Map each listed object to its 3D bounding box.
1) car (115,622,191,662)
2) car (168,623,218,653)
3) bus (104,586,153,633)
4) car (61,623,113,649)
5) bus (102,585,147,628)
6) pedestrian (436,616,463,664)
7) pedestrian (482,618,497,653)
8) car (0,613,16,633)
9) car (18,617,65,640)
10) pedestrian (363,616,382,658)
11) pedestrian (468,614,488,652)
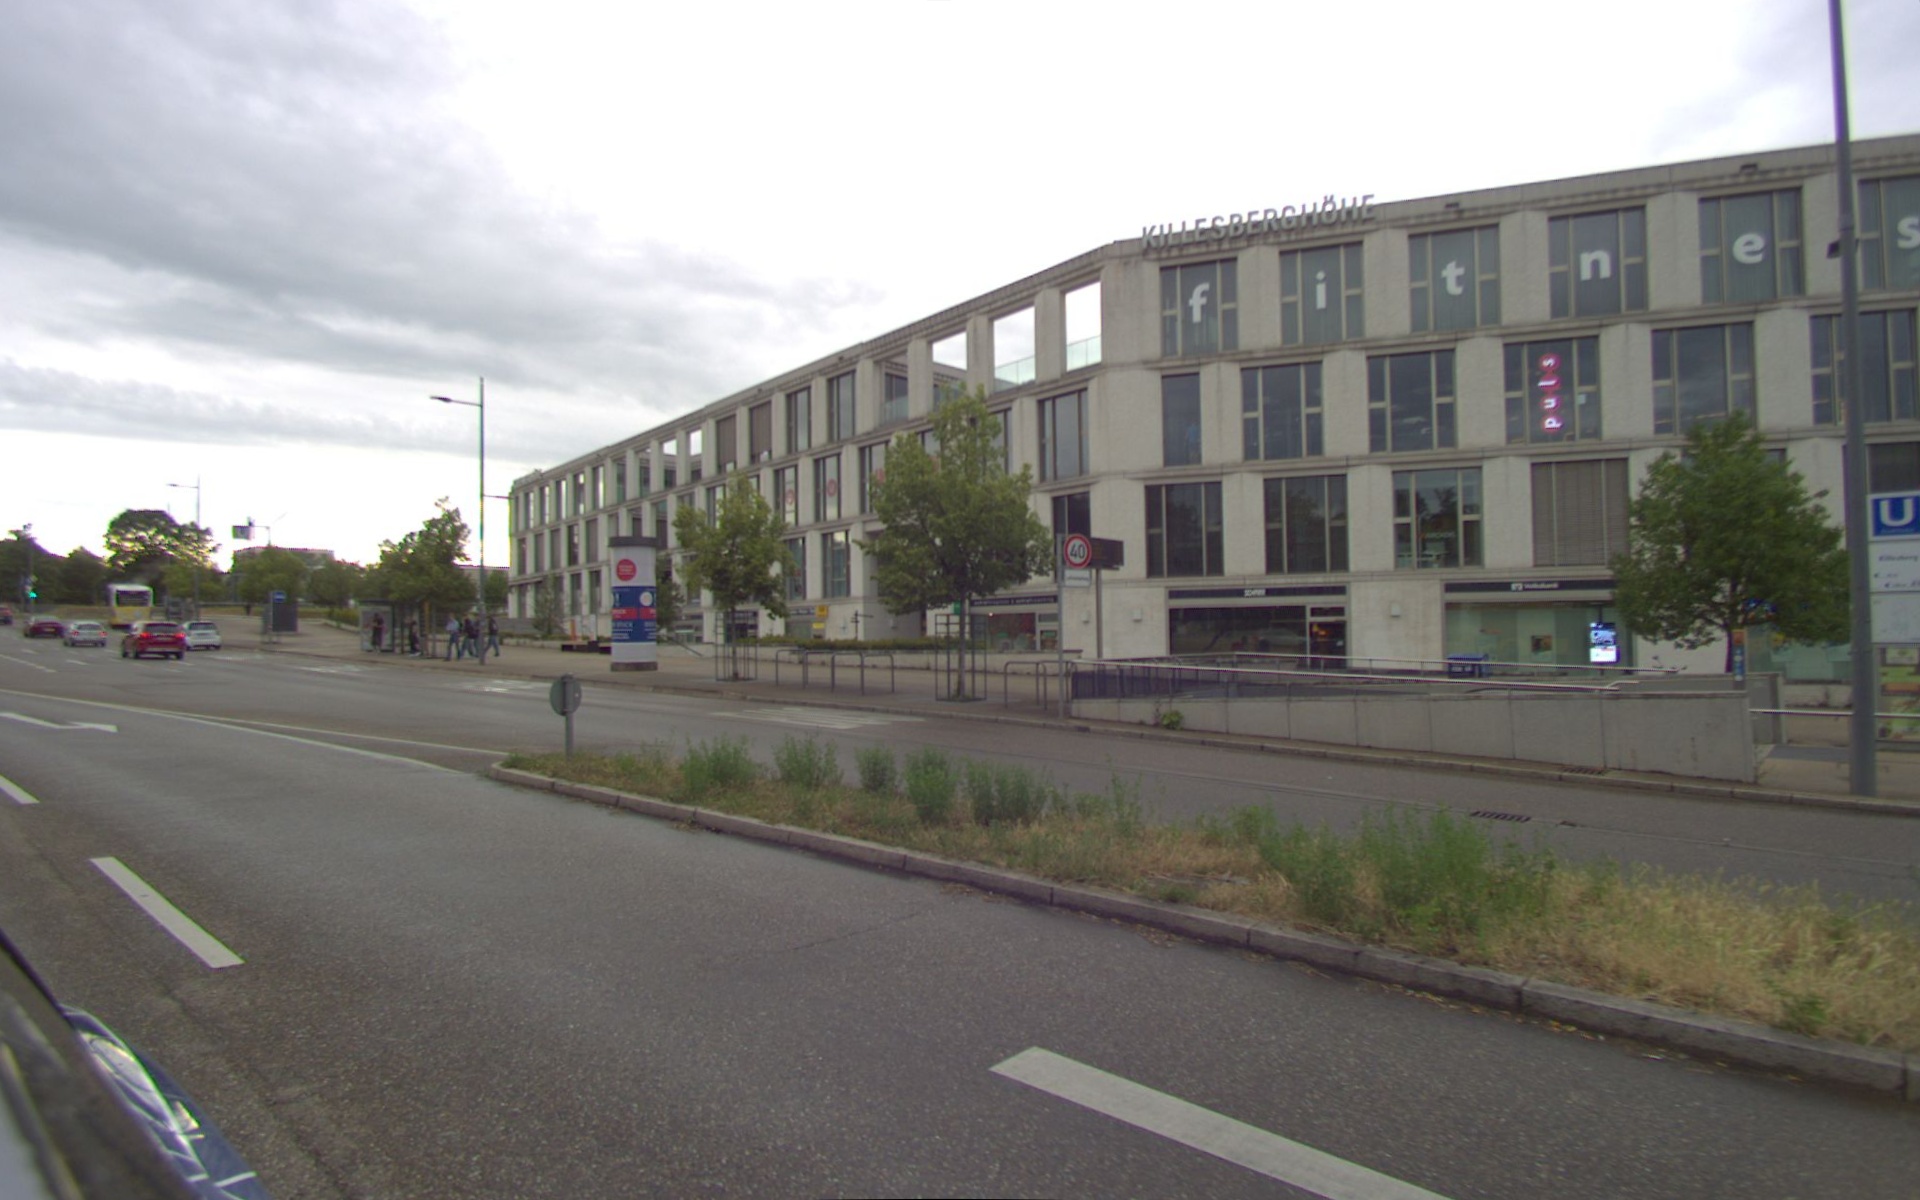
[{"bbox_3d":[-36.267,1.864,45.433,4.736,1.696,1.833,-1,-4,42],"label":"car"},{"bbox_3d":[-41.723,2.047,55.026,2.971,1.519,1.597,0,1,42],"label":"car"},{"bbox_3d":[-67.560,0.674,82.144,2.787,3.498,8.243,-1,2,-41],"label":"bus"},{"bbox_3d":[-50.562,2.084,58.589,3.877,1.427,1.743,-1,-4,42],"label":"car"},{"bbox_3d":[-73.777,0.498,89.252,2.787,3.498,9.989,-1,2,-41],"label":"bus"},{"bbox_3d":[-19.892,1.542,39.436,0.746,1.856,0.745,-1,-1,44],"label":"pedestrian"},{"bbox_3d":[-20.188,1.518,43.409,0.510,1.462,0.421,-1,-1,42],"label":"pedestrian"},{"bbox_3d":[-81.253,1.880,85.380,4.592,1.584,1.812,0,-3,42],"label":"car"},{"bbox_3d":[-62.147,1.918,68.447,4.464,1.427,1.812,-1,-4,42],"label":"car"},{"bbox_3d":[-26.140,1.631,45.051,0.755,1.856,0.502,-1,-1,41],"label":"pedestrian"},{"bbox_3d":[-22.454,1.532,47.125,0.857,1.775,0.592,-1,-1,44],"label":"pedestrian"}]
